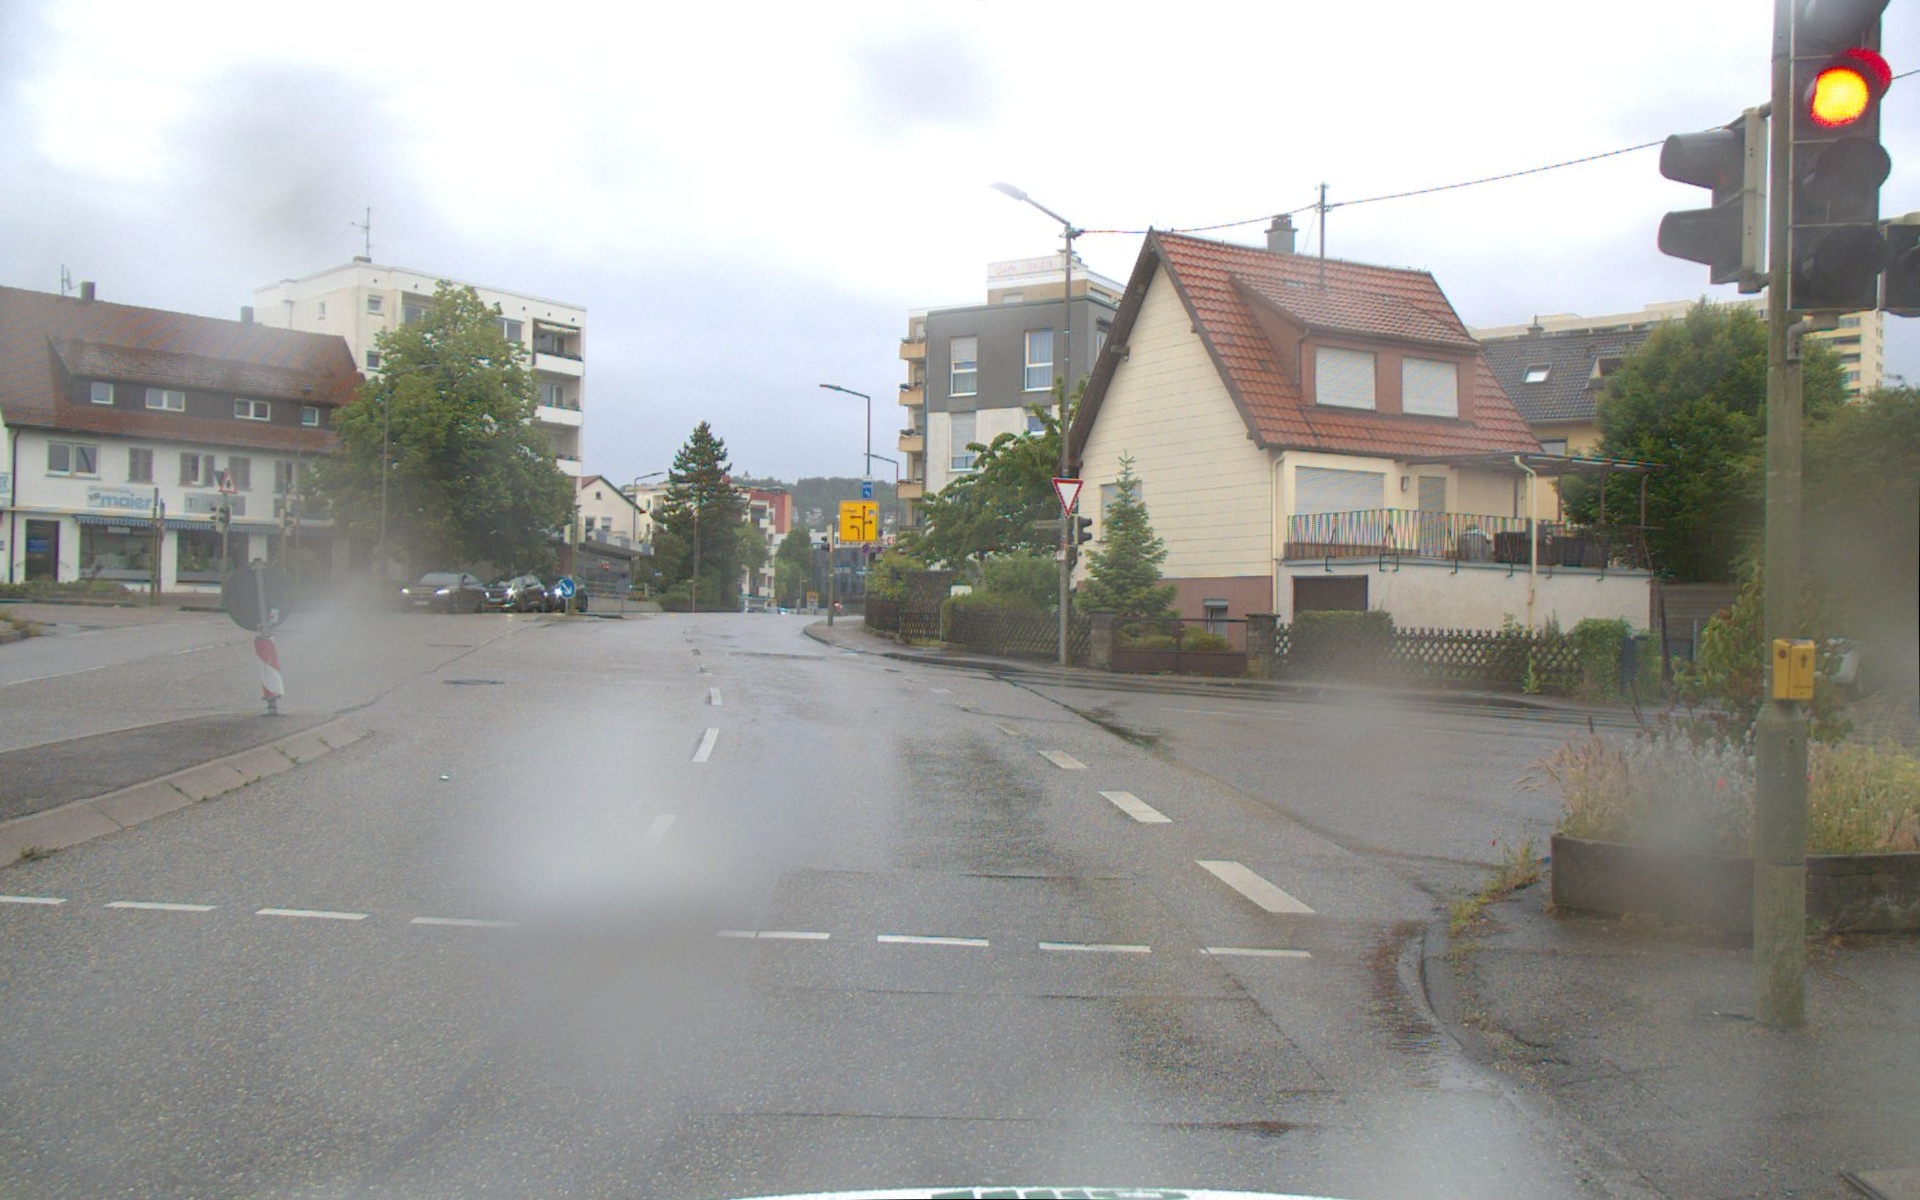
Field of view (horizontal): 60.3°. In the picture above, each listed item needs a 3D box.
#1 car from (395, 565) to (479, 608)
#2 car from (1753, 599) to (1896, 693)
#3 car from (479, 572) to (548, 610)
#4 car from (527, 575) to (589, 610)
[{"bbox_3d":[-18.252,-0.479,57.914,1.742,1.445,3.830,1,1,-1],"label":"car"},{"bbox_3d":[15.617,0.772,29.787,1.710,1.541,3.985,1,1,36],"label":"car"},{"bbox_3d":[-17.590,-0.367,65.324,1.680,1.411,4.020,1,1,-1],"label":"car"},{"bbox_3d":[-17.260,-0.343,71.144,1.742,1.445,3.830,1,1,-1],"label":"car"}]
